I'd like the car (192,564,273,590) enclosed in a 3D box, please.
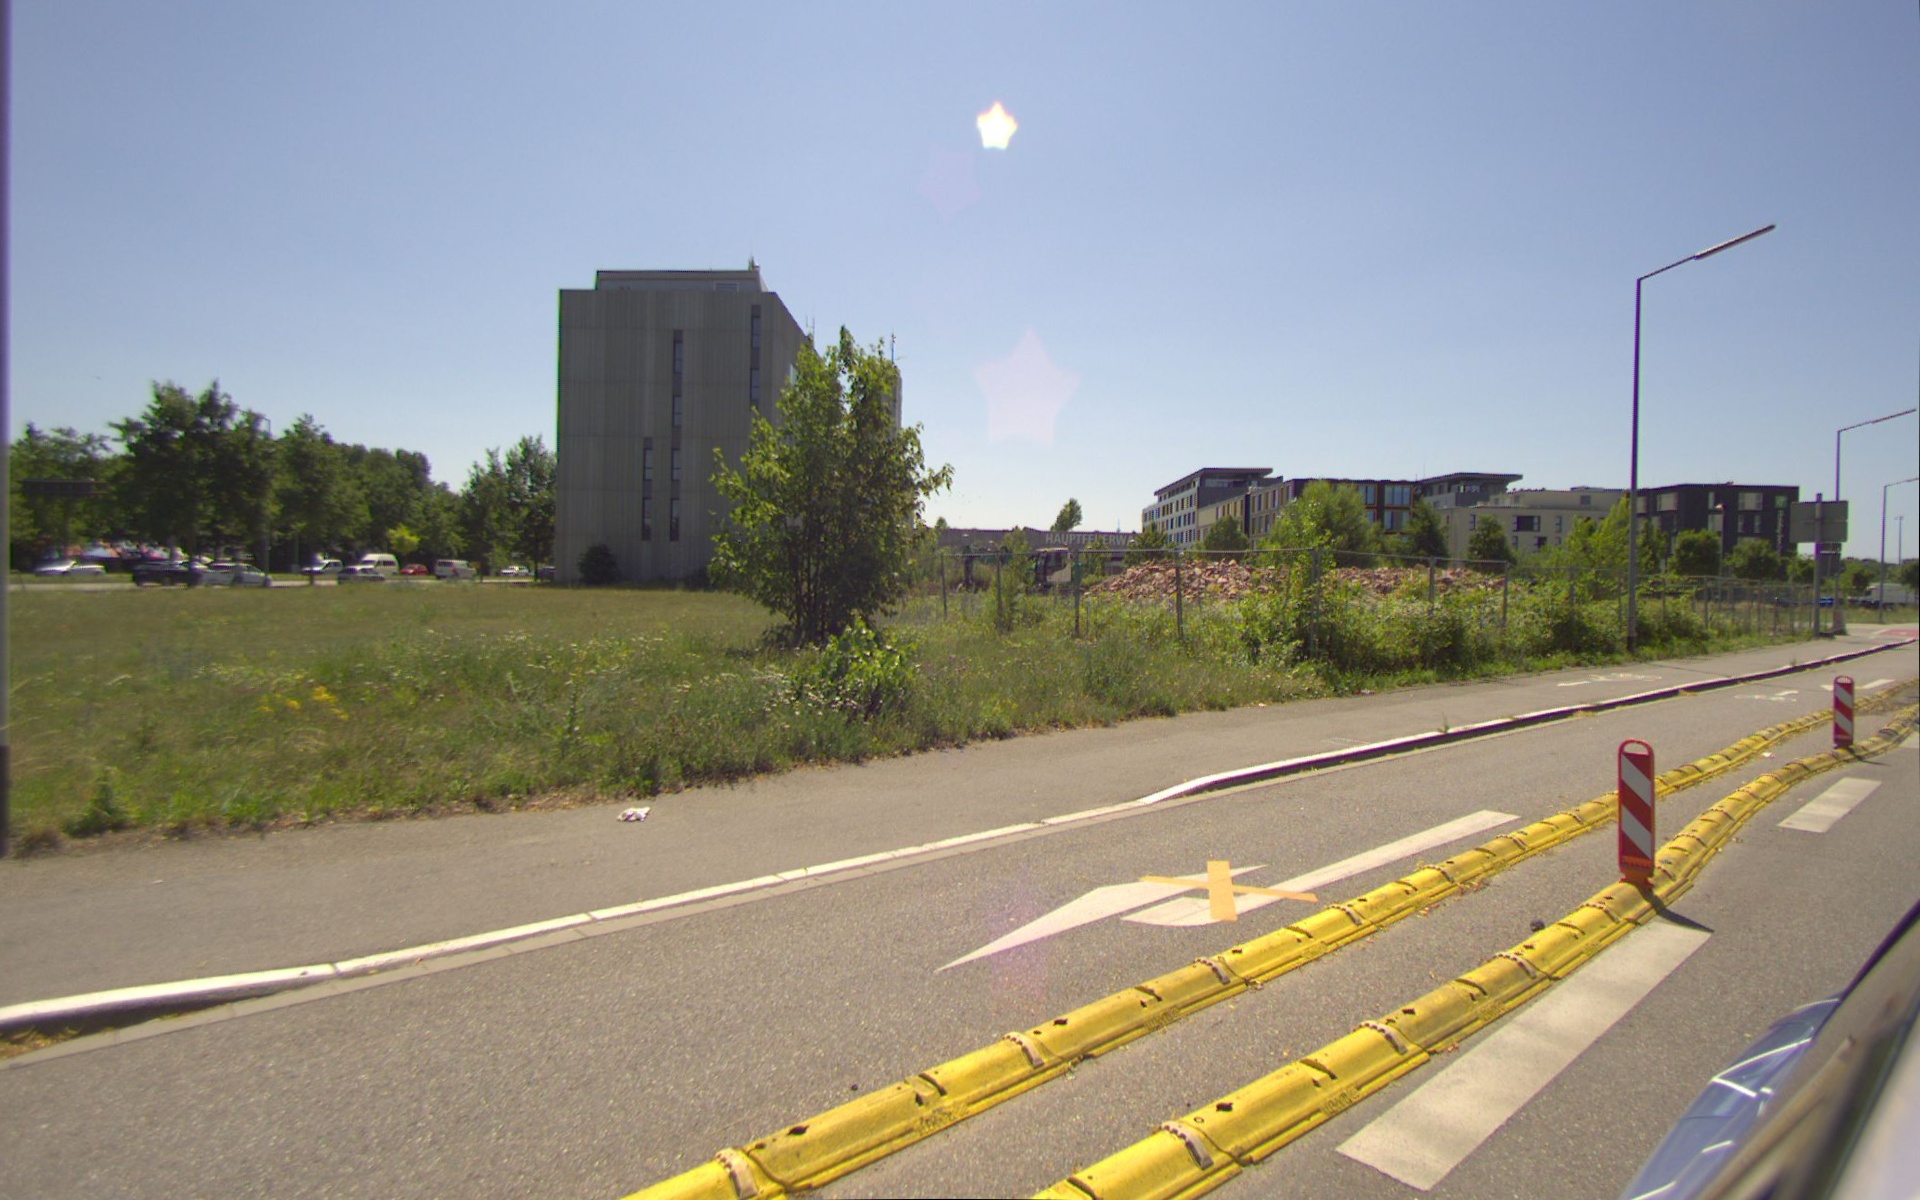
[{"bbox_3d":[-42.600,-1.313,59.356,1.604,1.462,4.015,0,1,6],"label":"car"}]

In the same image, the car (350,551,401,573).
[{"bbox_3d":[-58.022,-3.730,100.564,1.963,2.039,5.083,0,1,2],"label":"car"}]

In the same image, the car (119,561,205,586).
[{"bbox_3d":[-46.857,-1.551,59.516,1.961,1.425,4.001,0,1,-1],"label":"car"}]

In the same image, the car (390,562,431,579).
[{"bbox_3d":[-61.152,-3.289,112.757,1.963,1.873,4.603,0,1,2],"label":"car"}]

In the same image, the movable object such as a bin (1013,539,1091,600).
[{"bbox_3d":[4.910,-1.589,53.957,3.619,3.101,2.207,0,1,-35],"label":"movable object such as a bin"}]

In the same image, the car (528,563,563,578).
[{"bbox_3d":[-44.963,-3.187,109.955,1.962,1.616,4.447,0,1,0],"label":"car"}]

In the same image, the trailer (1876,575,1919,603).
[{"bbox_3d":[119.631,-1.355,126.420,8.030,3.390,1.998,1,1,4],"label":"trailer"}]

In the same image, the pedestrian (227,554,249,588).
[{"bbox_3d":[-33.869,-1.352,47.473,0.489,1.583,0.737,0,0,-1],"label":"pedestrian"}]

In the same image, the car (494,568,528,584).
[{"bbox_3d":[-57.249,-3.060,129.214,1.963,2.039,5.083,0,1,2],"label":"car"}]

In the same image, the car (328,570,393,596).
[{"bbox_3d":[-42.706,-1.205,72.249,1.961,1.727,4.942,0,1,-3],"label":"car"}]

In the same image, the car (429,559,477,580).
[{"bbox_3d":[-47.720,-2.841,95.441,1.963,1.873,4.985,0,1,1],"label":"car"}]

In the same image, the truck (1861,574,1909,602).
[{"bbox_3d":[115.836,-1.475,126.717,3.928,3.377,1.998,1,1,4],"label":"truck"}]

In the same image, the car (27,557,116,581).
[{"bbox_3d":[-61.966,-2.160,70.691,1.963,1.590,4.779,0,1,2],"label":"car"}]

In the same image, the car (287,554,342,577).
[{"bbox_3d":[-62.170,-3.295,97.596,1.963,2.039,5.083,0,1,2],"label":"car"}]
